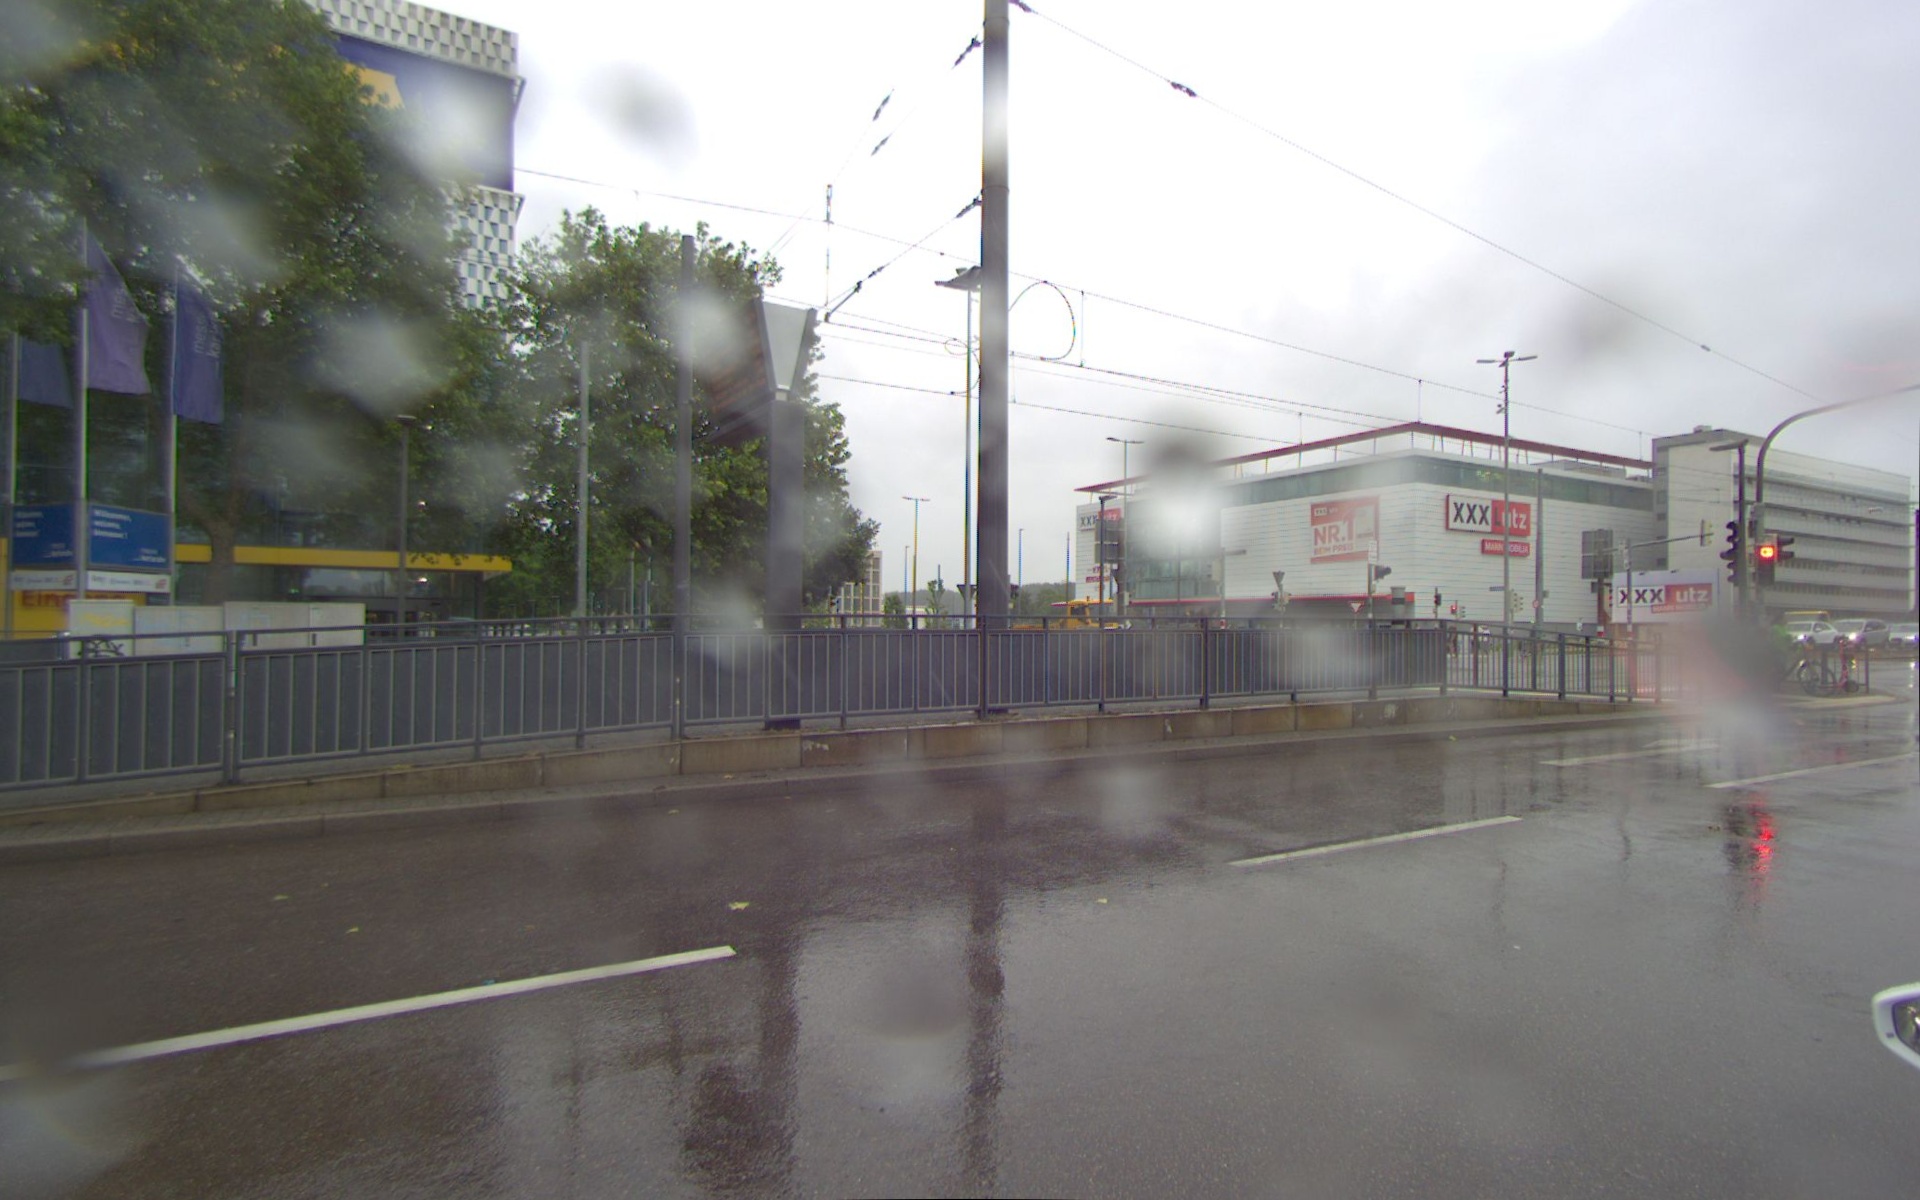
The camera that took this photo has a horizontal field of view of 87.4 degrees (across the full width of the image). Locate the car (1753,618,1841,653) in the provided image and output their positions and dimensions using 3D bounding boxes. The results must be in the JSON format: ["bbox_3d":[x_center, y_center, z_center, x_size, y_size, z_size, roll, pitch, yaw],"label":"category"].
[{"bbox_3d":[39.724,1.689,47.664,3.823,1.512,1.693,2,0,-25],"label":"car"}]

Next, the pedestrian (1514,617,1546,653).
[{"bbox_3d":[27.417,1.673,48.327,0.996,1.654,0.917,2,0,-19],"label":"pedestrian"}]

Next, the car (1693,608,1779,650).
[{"bbox_3d":[40.400,1.527,52.292,3.947,2.040,1.987,2,0,-26],"label":"car"}]

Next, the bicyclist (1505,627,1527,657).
[{"bbox_3d":[28.351,2.142,51.214,0.639,1.483,0.681,2,0,-29],"label":"bicyclist"}]

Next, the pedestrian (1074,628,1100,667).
[{"bbox_3d":[5.178,1.920,40.961,0.863,1.557,0.560,2,0,-31],"label":"pedestrian"}]

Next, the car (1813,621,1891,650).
[{"bbox_3d":[44.841,1.789,50.506,3.780,1.354,1.582,2,0,-26],"label":"car"}]

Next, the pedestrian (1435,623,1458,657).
[{"bbox_3d":[24.252,1.985,50.060,0.914,1.654,0.694,2,0,-42],"label":"pedestrian"}]

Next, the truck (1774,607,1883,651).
[{"bbox_3d":[49.585,1.651,57.285,7.542,2.309,2.341,2,0,-30],"label":"truck"}]

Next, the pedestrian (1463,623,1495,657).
[{"bbox_3d":[26.091,1.988,50.503,1.063,1.654,1.027,2,0,5],"label":"pedestrian"}]

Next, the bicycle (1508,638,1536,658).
[{"bbox_3d":[28.470,2.443,50.891,1.688,1.000,0.448,2,0,-30],"label":"bicycle"}]

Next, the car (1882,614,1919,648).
[{"bbox_3d":[51.377,1.679,53.605,3.947,1.722,1.886,2,0,-26],"label":"car"}]

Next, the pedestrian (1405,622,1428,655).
[{"bbox_3d":[23.306,1.944,51.294,0.914,1.654,0.694,2,0,-42],"label":"pedestrian"}]

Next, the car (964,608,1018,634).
[{"bbox_3d":[2.178,1.467,70.205,3.723,1.645,2.001,2,0,2],"label":"car"}]

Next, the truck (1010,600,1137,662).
[{"bbox_3d":[5.638,1.494,51.103,2.612,2.853,7.084,2,0,-31],"label":"truck"}]

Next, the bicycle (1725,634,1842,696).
[{"bbox_3d":[16.714,1.297,20.427,0.409,1.048,1.742,2,3,-31],"label":"bicycle"}]
